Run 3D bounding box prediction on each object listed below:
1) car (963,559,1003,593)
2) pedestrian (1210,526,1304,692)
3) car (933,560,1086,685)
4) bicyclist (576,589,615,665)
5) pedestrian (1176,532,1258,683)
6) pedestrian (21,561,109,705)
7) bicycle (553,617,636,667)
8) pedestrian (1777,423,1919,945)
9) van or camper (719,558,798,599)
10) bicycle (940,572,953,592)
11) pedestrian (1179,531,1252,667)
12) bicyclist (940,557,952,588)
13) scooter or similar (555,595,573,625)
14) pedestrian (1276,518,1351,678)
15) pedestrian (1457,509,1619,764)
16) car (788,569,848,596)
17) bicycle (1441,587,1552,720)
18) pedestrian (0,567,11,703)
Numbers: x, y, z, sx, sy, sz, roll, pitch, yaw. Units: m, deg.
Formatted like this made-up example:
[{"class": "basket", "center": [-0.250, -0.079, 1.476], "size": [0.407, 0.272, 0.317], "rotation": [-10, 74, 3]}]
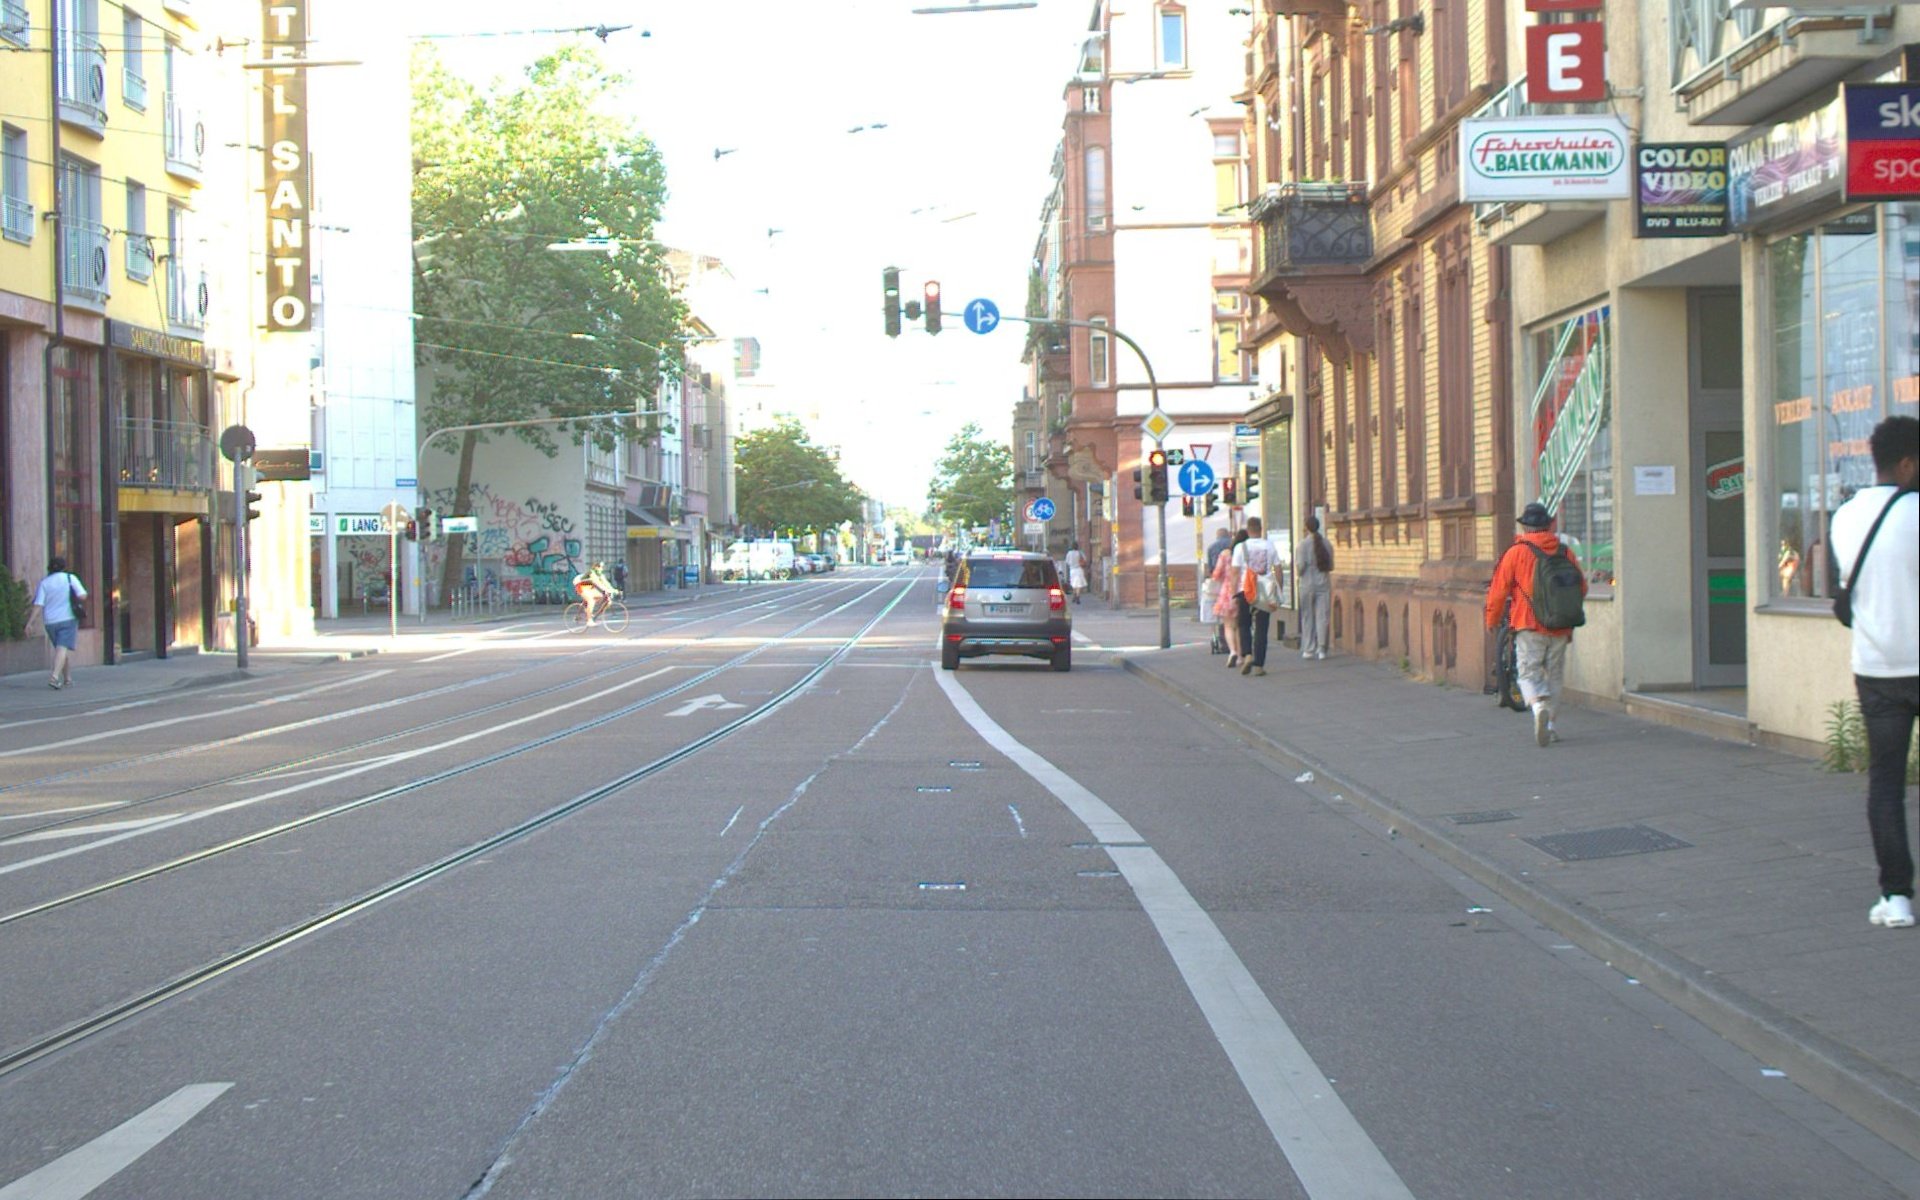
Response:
[{"class": "car", "center": [1.148, -1.192, 171.106], "size": [1.950, 1.678, 4.000], "rotation": [0, 0, 1]}, {"class": "pedestrian", "center": [3.369, 0.094, 39.076], "size": [0.805, 1.794, 1.092], "rotation": [-4, 1, -1]}, {"class": "car", "center": [0.657, 0.301, 48.184], "size": [1.993, 1.613, 4.000], "rotation": [2, 0, 0]}, {"class": "bicyclist", "center": [-7.860, 0.588, 74.218], "size": [0.740, 1.628, 0.608], "rotation": [2, -1, -2]}, {"class": "pedestrian", "center": [3.187, 0.088, 42.686], "size": [0.805, 1.794, 0.761], "rotation": [-4, 0, -1]}, {"class": "pedestrian", "center": [-11.683, 0.423, 44.909], "size": [0.751, 1.812, 1.046], "rotation": [4, 0, 0]}, {"class": "bicycle", "center": [-7.908, 0.916, 74.394], "size": [1.714, 1.031, 0.599], "rotation": [2, -1, 0]}, {"class": "pedestrian", "center": [3.419, 0.277, 12.426], "size": [0.705, 1.806, 0.679], "rotation": [-6, 0, 16]}, {"class": "van or camper", "center": [-12.954, -1.391, 220.708], "size": [4.634, 2.555, 2.000], "rotation": [1, -1, -31]}, {"class": "bicycle", "center": [-0.680, -0.906, 173.607], "size": [0.575, 1.027, 1.895], "rotation": [0, 0, 1]}, {"class": "pedestrian", "center": [3.502, -0.022, 47.233], "size": [0.805, 1.794, 0.761], "rotation": [-4, 0, 0]}, {"class": "bicyclist", "center": [-0.686, -1.380, 173.603], "size": [0.575, 1.548, 0.595], "rotation": [0, 0, 1]}, {"class": "scooter or similar", "center": [-14.060, 0.362, 122.162], "size": [0.516, 1.054, 1.478], "rotation": [0, 0, -2]}, {"class": "pedestrian", "center": [4.345, -0.031, 42.301], "size": [0.690, 1.902, 0.670], "rotation": [-4, 0, -1]}, {"class": "pedestrian", "center": [3.918, 0.240, 23.354], "size": [0.798, 1.622, 0.825], "rotation": [-6, 0, 0]}, {"class": "car", "center": [-10.647, -1.296, 257.242], "size": [3.986, 2.007, 2.000], "rotation": [0, 0, -25]}, {"class": "bicycle", "center": [4.534, 0.437, 29.154], "size": [0.555, 1.057, 2.311], "rotation": [-3, 0, 1]}, {"class": "pedestrian", "center": [-12.834, 0.431, 44.456], "size": [0.798, 1.765, 0.749], "rotation": [4, 0, 0]}]
